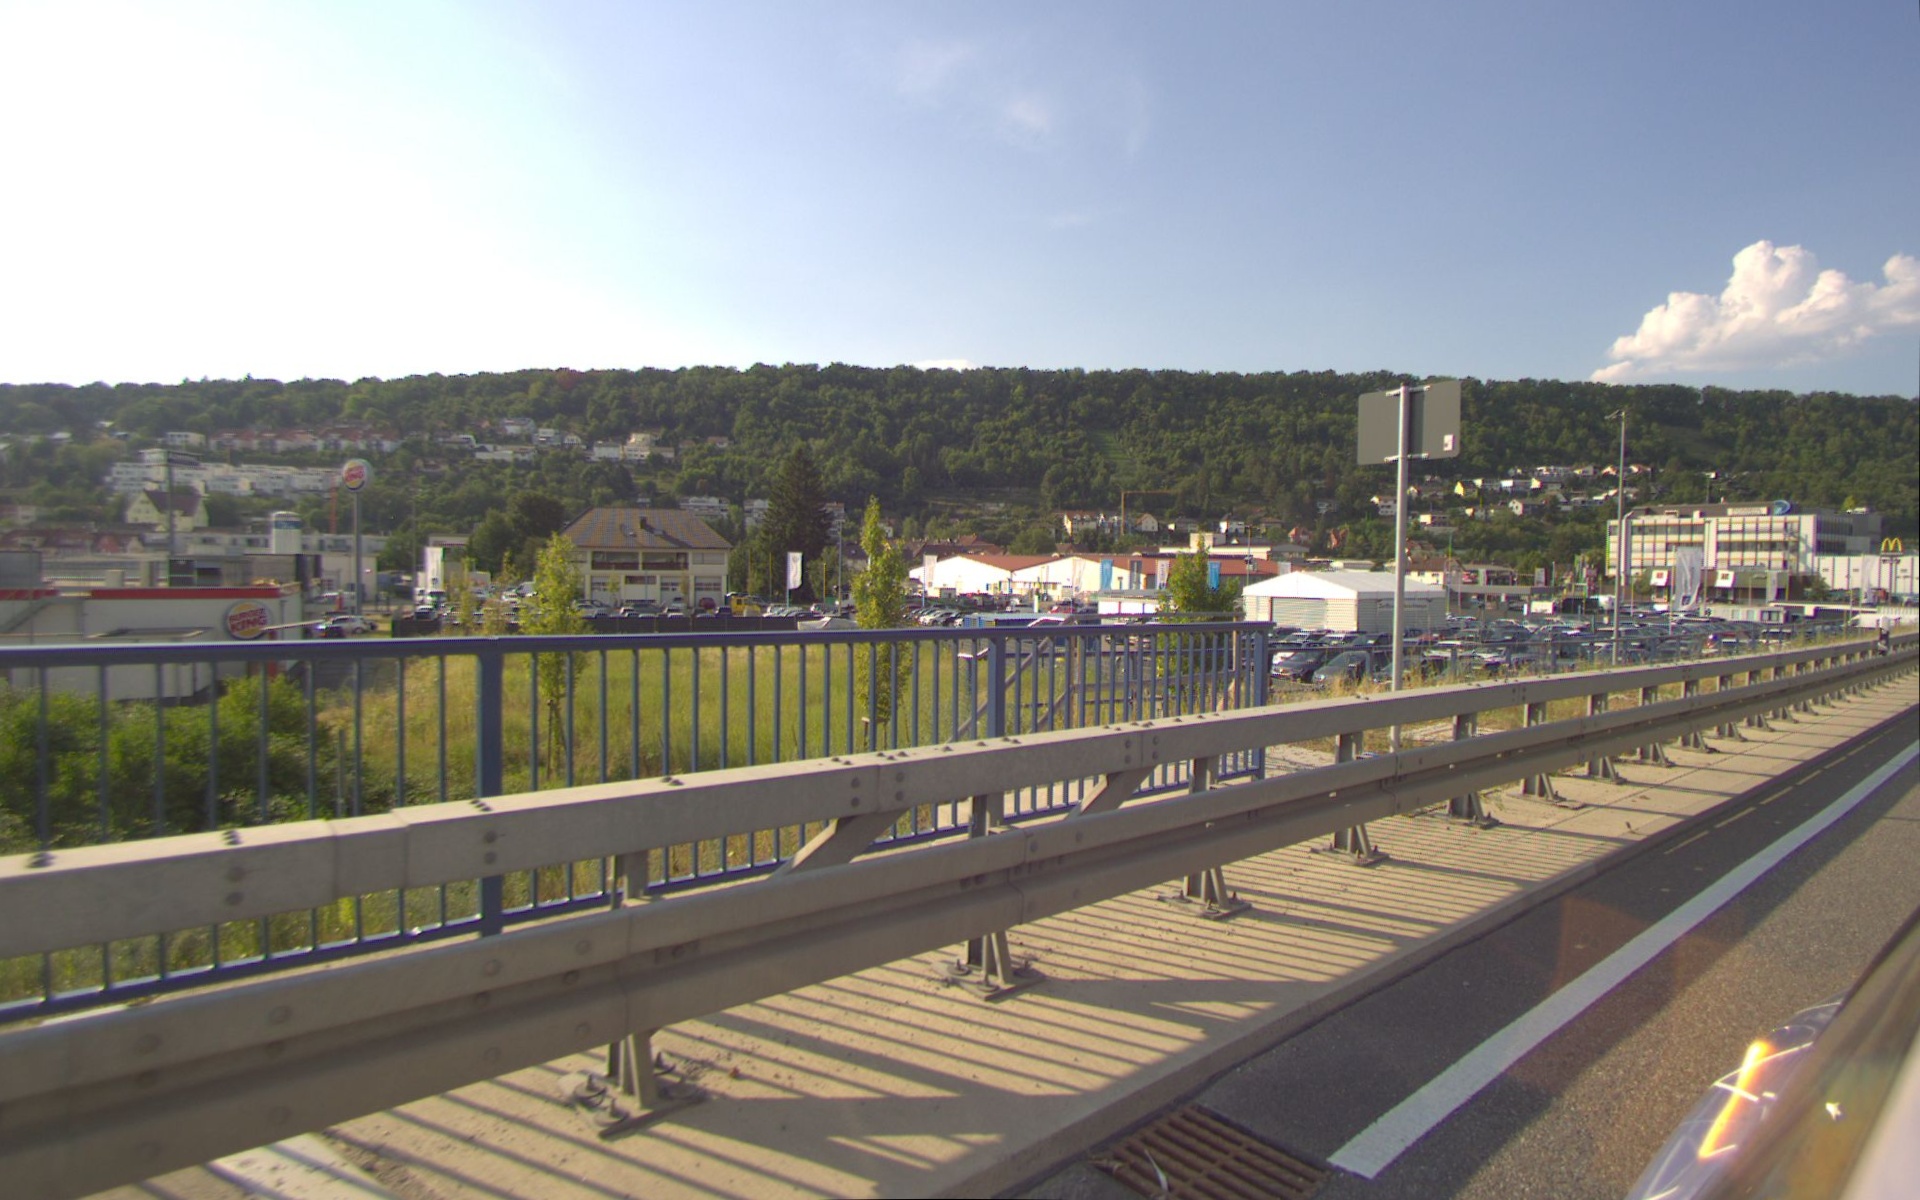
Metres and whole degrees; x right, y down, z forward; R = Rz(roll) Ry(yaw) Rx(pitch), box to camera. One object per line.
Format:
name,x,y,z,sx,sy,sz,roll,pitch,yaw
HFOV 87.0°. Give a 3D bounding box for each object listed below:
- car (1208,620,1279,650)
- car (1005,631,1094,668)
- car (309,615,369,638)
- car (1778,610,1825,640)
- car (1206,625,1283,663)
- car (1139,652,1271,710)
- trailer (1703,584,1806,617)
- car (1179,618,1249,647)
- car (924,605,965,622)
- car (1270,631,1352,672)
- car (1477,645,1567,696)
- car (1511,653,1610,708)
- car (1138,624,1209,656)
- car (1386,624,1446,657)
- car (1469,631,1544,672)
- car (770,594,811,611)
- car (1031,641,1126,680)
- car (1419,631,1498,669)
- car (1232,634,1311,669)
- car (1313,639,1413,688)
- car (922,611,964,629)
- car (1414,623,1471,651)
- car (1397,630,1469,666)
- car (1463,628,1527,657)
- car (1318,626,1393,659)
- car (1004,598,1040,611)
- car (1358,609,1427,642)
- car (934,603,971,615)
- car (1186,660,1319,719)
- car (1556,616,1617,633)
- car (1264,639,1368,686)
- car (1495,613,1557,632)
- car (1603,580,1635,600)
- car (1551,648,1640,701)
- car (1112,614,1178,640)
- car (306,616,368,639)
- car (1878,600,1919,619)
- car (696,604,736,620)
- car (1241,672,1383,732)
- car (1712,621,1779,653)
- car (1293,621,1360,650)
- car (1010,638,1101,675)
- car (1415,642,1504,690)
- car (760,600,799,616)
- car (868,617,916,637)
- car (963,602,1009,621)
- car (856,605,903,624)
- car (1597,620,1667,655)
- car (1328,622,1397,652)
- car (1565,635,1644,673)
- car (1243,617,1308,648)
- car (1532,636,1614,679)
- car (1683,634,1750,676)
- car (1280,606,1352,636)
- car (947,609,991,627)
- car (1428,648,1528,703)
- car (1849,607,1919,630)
car,17.895,2.194,63.805,4.641,1.657,1.885,-1,0,-36
car,4.382,2.383,49.543,3.919,1.614,1.962,-1,0,-29
car,-48.184,2.042,78.649,3.701,1.597,1.756,-1,0,-21
car,51.442,1.515,61.859,1.880,1.646,4.654,0,0,44
car,14.577,2.225,51.807,3.926,1.705,1.780,-1,0,-37
car,8.438,2.733,34.793,4.158,1.662,1.962,-1,0,-29
trailer,83.020,0.009,105.945,3.296,3.364,7.902,-1,0,-36
car,16.496,2.088,65.589,4.641,1.657,1.885,-1,0,-36
car,-1.565,1.327,100.582,3.700,1.597,1.756,-1,0,-19
car,16.657,2.383,47.949,3.926,1.705,1.780,-1,0,-37
car,22.388,2.745,40.273,3.928,1.705,1.779,-1,0,-39
car,20.051,2.623,33.759,3.930,1.482,1.709,-1,0,-41
car,11.897,2.193,56.297,3.926,1.623,1.711,-1,0,-37
car,31.708,2.793,70.294,3.924,1.700,1.786,-1,13,-35
car,26.810,2.485,49.608,4.587,1.737,1.837,-1,0,-42
car,-16.788,0.227,100.267,3.701,1.597,1.756,-1,0,-21
car,5.313,2.681,45.495,3.917,1.482,1.714,-1,0,-25
car,25.428,2.489,51.546,4.645,1.657,1.883,-1,0,-40
car,15.322,2.507,49.713,3.926,1.482,1.711,-1,0,-37
car,16.075,2.469,40.302,4.273,1.643,1.711,-1,0,-36
car,-1.618,1.956,98.366,3.700,1.597,1.756,-1,0,-19
car,32.508,2.450,68.149,3.924,1.705,1.781,-1,0,-35
car,25.327,2.535,54.158,3.924,1.705,1.781,-1,0,-35
car,35.360,2.761,66.817,4.641,1.657,1.885,-1,0,-36
car,22.832,2.408,58.346,4.643,1.657,1.885,-1,0,-37
car,7.565,0.571,123.173,4.138,1.521,1.593,-1,0,-18
car,24.125,1.379,56.355,3.925,1.705,1.780,-1,0,-36
car,-0.858,0.997,114.301,3.916,1.367,1.593,-1,0,-18
car,9.403,2.817,32.495,3.919,1.518,1.826,-1,0,-28
car,57.188,2.239,92.397,1.766,1.386,4.434,-1,0,-33
car,14.818,2.555,42.108,3.919,1.664,1.962,-1,0,-29
car,49.727,1.961,89.004,1.766,1.563,4.434,-1,0,-33
car,84.940,-1.291,130.394,5.370,2.581,1.759,-1,0,-38
car,24.454,2.809,38.900,3.930,1.705,1.778,-1,0,-40
car,12.909,1.864,70.485,4.641,1.657,1.885,-1,0,-36
car,-46.969,2.092,76.349,3.701,1.597,1.756,-1,0,-21
car,89.924,0.865,96.036,1.867,1.772,3.996,-1,0,-39
car,-24.853,1.195,103.015,3.701,1.597,1.756,-1,0,-21
car,10.548,3.005,30.325,3.919,1.371,1.826,-1,0,-28
car,46.079,2.137,59.348,4.641,1.646,1.885,-1,0,-36
car,23.982,2.294,66.131,4.641,1.657,1.885,-1,0,-36
car,4.453,2.608,47.287,3.917,1.482,1.714,-1,0,-25
car,20.839,2.717,42.161,3.927,1.705,1.779,-1,0,-38
car,-18.457,0.799,103.462,3.701,1.597,1.756,-1,0,-21
car,-5.697,2.243,84.836,3.702,1.597,1.756,-1,0,-24
car,2.335,1.029,90.164,3.700,1.597,1.756,-1,0,-19
car,-7.113,1.269,89.290,3.702,1.597,1.756,-1,0,-24
car,42.184,2.320,63.523,4.636,1.955,1.887,-1,0,-31
car,25.603,2.326,64.298,4.641,1.656,1.886,-1,2,-36
car,33.019,2.705,51.827,4.642,1.657,1.885,-1,0,-37
car,19.215,1.952,61.555,3.926,1.705,1.780,-1,0,-37
car,28.362,2.617,46.782,4.649,1.671,2.002,-1,0,-42
car,35.288,2.541,47.164,3.767,1.700,1.616,-1,0,-39
car,21.325,1.224,60.486,4.644,1.657,1.884,-1,0,-39
car,0.800,1.665,94.009,3.700,1.597,1.756,-1,0,-19
car,18.181,2.600,35.469,3.928,1.583,1.709,-1,0,-39
car,85.996,1.697,93.235,1.964,2.039,5.896,-1,0,-38
